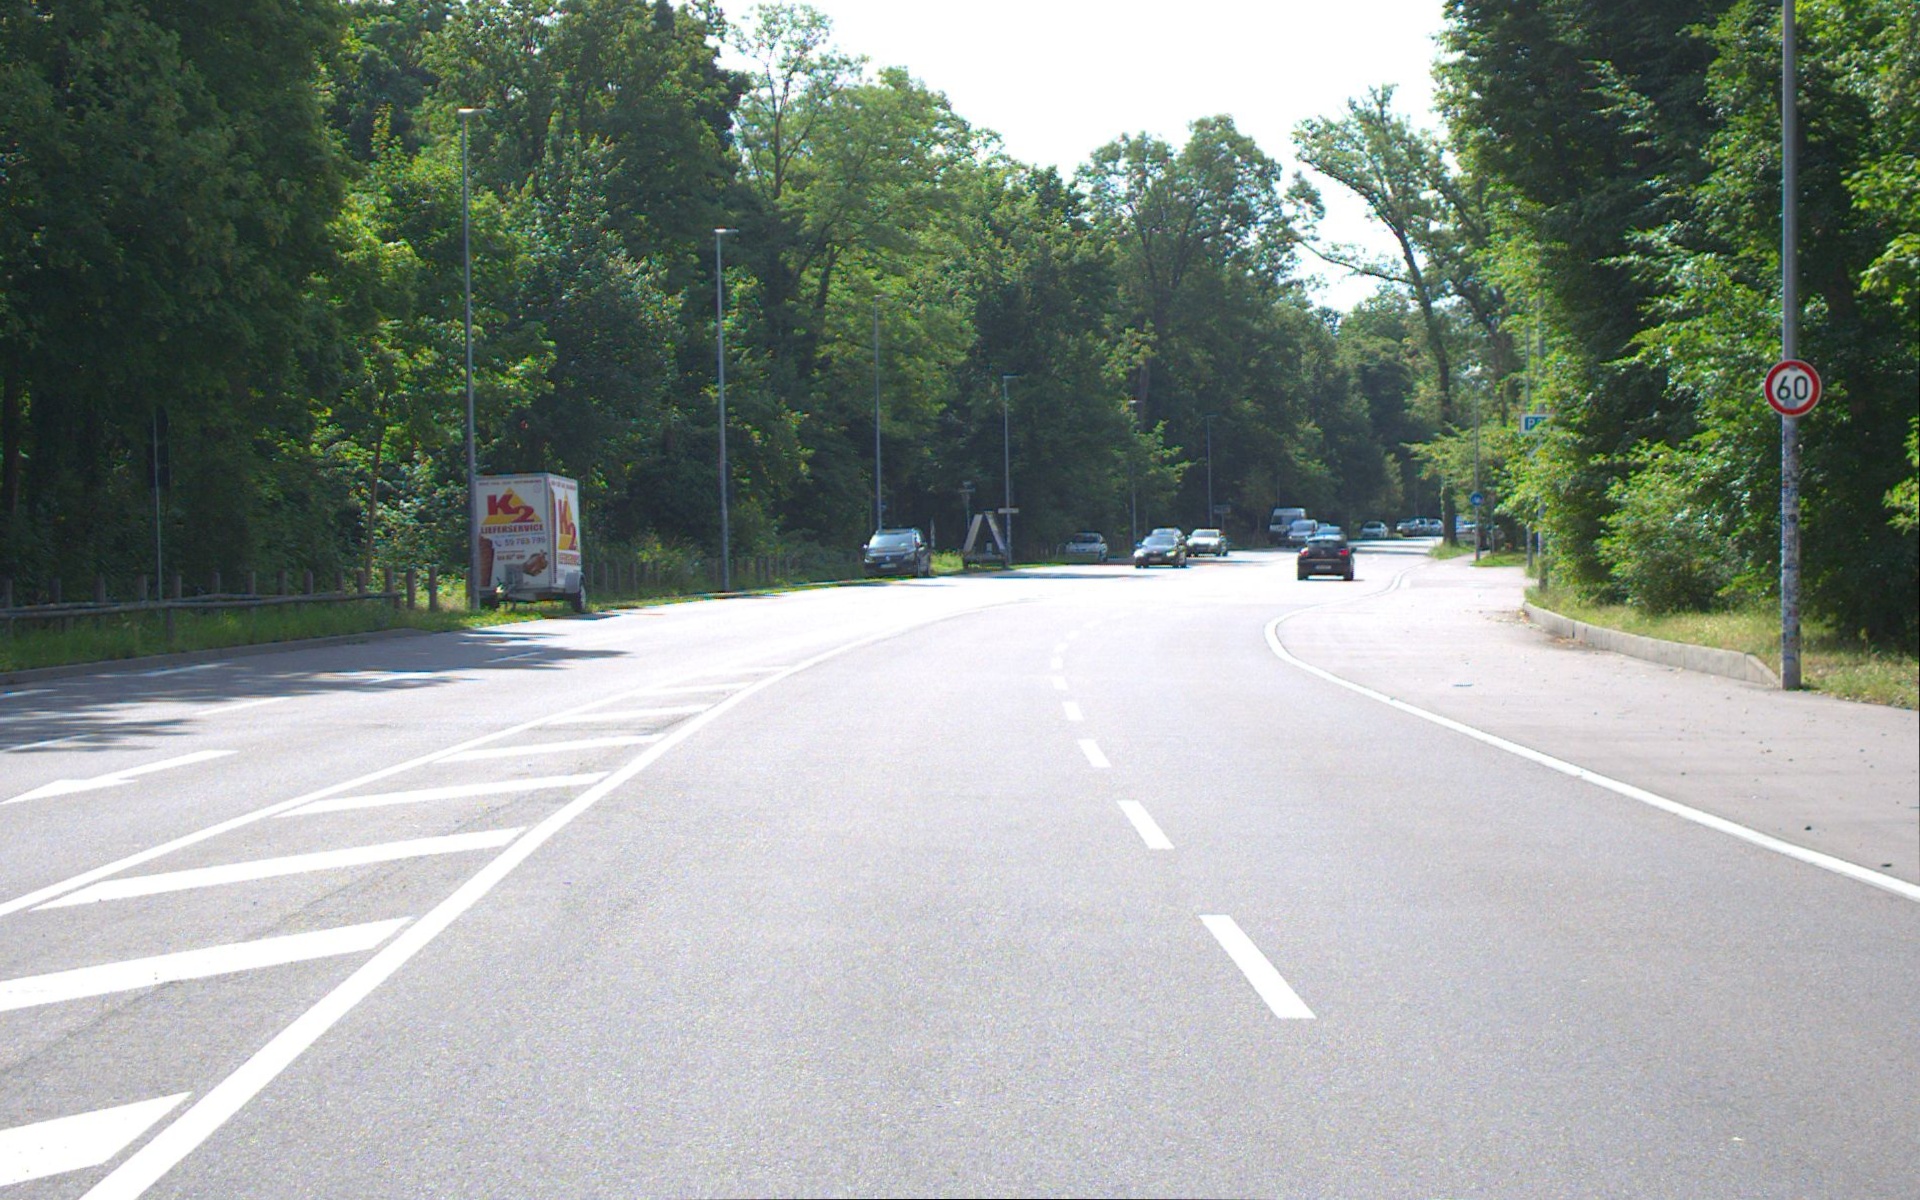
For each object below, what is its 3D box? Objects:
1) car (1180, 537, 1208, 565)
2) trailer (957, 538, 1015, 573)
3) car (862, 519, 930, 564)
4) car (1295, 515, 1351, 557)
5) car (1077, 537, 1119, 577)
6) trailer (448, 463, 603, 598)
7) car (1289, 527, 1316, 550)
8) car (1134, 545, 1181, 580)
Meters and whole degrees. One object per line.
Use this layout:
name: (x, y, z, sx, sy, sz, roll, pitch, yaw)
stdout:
car: (12.333, -2.571, 181.198, 1.503, 1.441, 3.529, 0, 1, 4)
trailer: (1.025, -1.723, 133.454, 1.717, 1.350, 3.731, 0, 1, 9)
car: (-2.060, -1.886, 110.865, 1.504, 1.441, 3.528, 0, 1, 11)
car: (12.010, -2.116, 113.603, 1.598, 1.373, 3.974, 0, 1, 10)
car: (6.473, -2.028, 161.365, 1.922, 1.848, 4.000, 0, 1, 3)
trailer: (-7.842, -1.255, 62.372, 1.994, 2.380, 3.999, 0, 1, 5)
car: (22.164, -3.982, 222.275, 1.504, 1.441, 3.528, 0, 1, 9)
car: (8.179, -1.553, 142.303, 1.504, 1.441, 3.528, 0, 1, 11)
